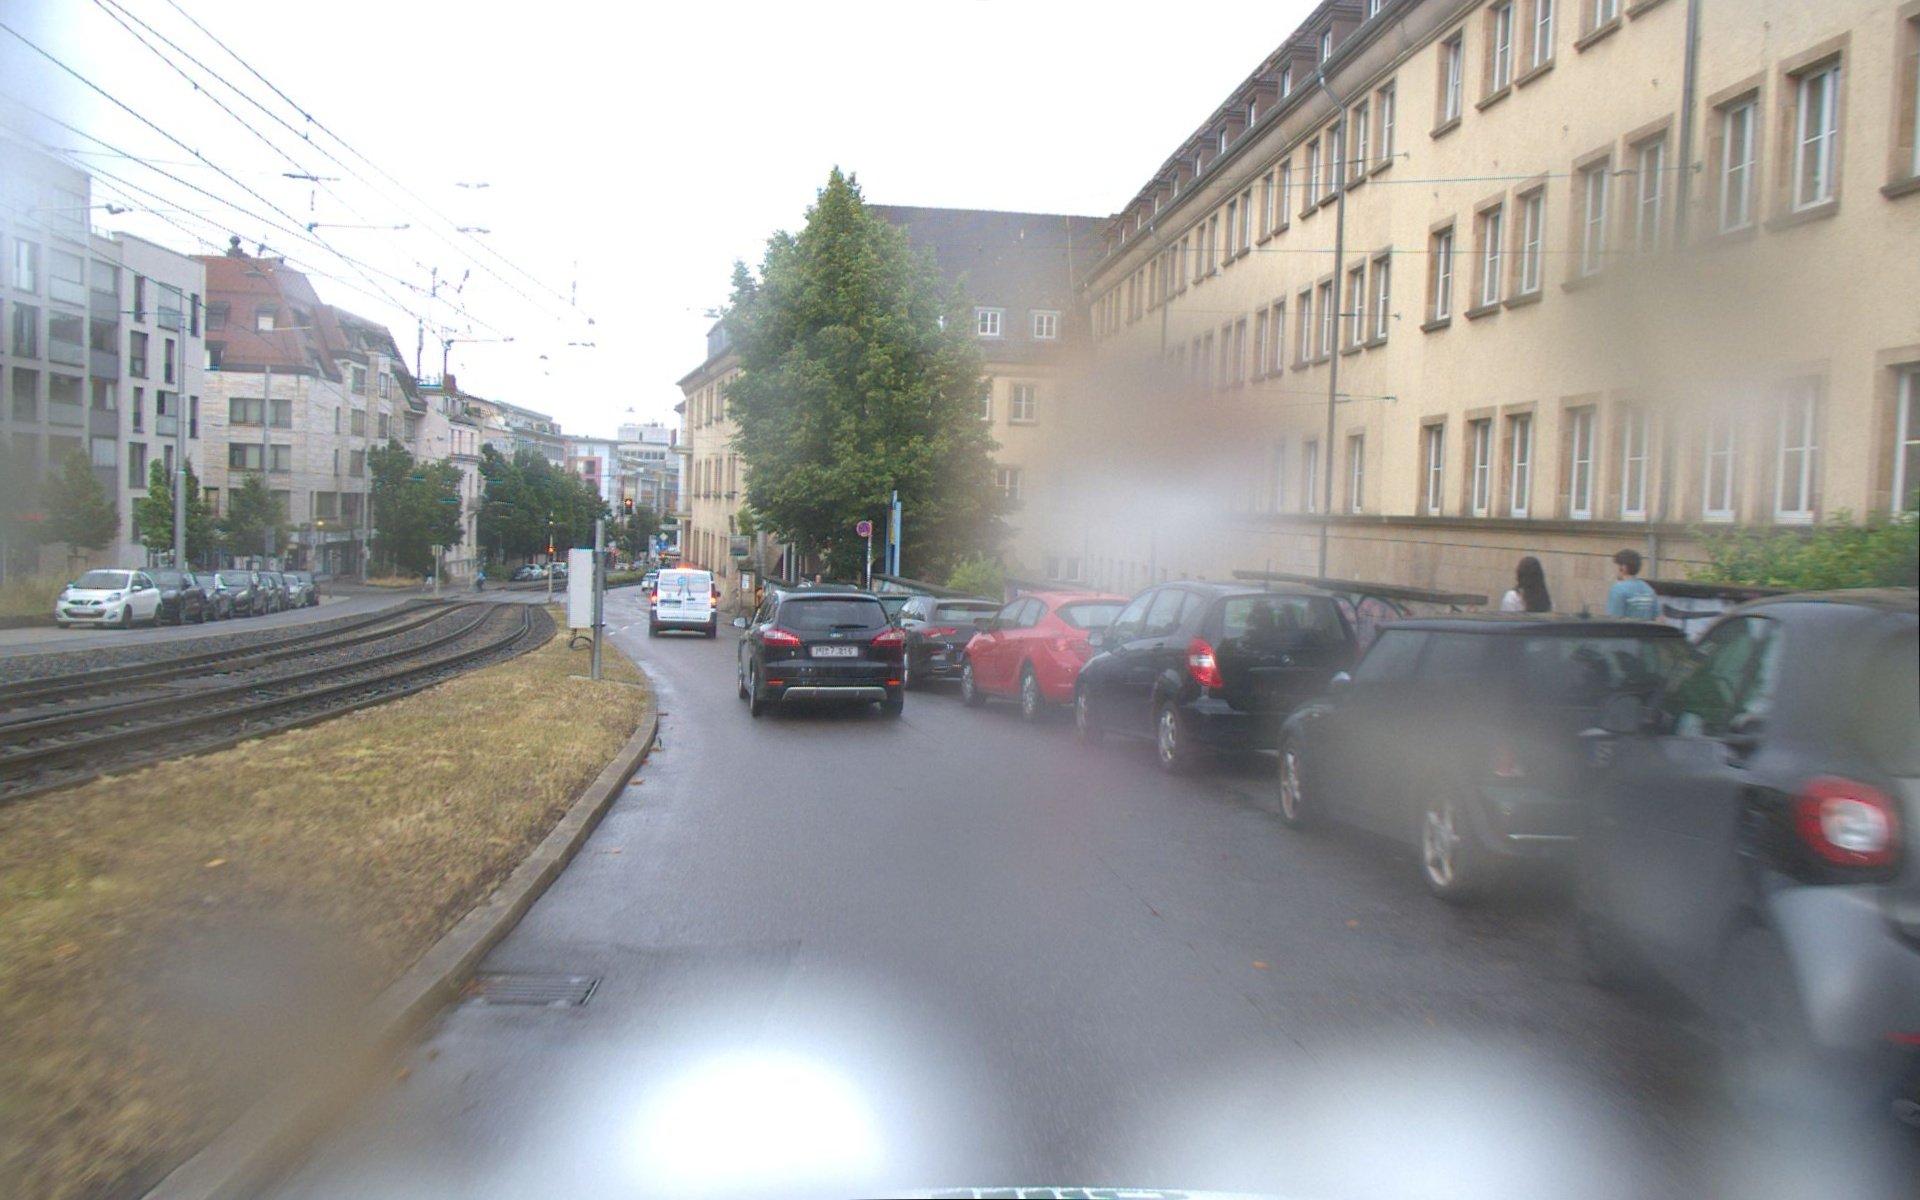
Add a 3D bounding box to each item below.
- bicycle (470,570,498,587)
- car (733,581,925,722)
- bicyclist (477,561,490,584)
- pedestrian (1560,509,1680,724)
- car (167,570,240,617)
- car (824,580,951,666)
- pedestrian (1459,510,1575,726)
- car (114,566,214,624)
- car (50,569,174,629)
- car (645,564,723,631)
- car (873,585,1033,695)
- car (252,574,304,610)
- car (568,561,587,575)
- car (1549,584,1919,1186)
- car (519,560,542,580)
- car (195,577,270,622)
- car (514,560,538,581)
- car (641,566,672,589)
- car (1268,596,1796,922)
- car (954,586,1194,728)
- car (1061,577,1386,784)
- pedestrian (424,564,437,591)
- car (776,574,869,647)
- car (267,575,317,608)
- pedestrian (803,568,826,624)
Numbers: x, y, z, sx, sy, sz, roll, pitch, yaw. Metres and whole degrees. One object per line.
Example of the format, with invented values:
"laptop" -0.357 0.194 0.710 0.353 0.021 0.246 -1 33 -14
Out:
"bicycle" -32.555 -1.490 113.058 1.787 1.082 0.450 2 0 -42
"car" -1.714 0.548 20.376 1.886 1.505 3.989 0 1 -11
"bicyclist" -32.576 -1.878 113.021 0.696 1.601 0.455 2 0 -42
"pedestrian" 5.621 0.134 14.122 0.703 1.785 0.738 0 1 -3
"car" -24.464 -0.219 53.561 1.523 1.460 3.438 0 1 -14
"car" -1.450 0.385 31.510 1.637 1.502 4.094 0 1 -14
"pedestrian" 4.715 0.141 14.042 0.703 1.785 0.738 0 1 -3
"car" -23.209 -0.166 48.369 1.735 1.588 4.390 0 1 -14
"car" -22.504 -0.043 44.033 1.732 1.505 3.728 1 1 -7
"car" -7.908 -0.108 47.152 2.099 1.775 4.207 0 1 -11
"car" -0.204 0.534 25.489 1.636 1.502 4.445 0 1 -12
"car" -29.737 -0.357 72.229 1.745 1.530 4.063 0 1 -18
"car" -47.250 -3.995 204.425 1.957 1.691 3.991 1 1 -10
"car" 3.085 0.705 5.448 1.564 1.491 2.723 0 1 6
"car" -45.081 -3.181 173.536 1.957 2.049 3.991 1 1 -10
"car" -25.668 -0.037 58.465 1.690 1.539 4.303 0 1 -14
"car" -43.924 -2.982 167.355 1.957 2.049 3.991 1 1 -10
"car" -24.491 -1.845 133.670 1.954 1.803 3.997 1 1 -4
"car" 2.995 0.723 9.468 1.506 1.441 3.640 0 1 -5
"car" 1.265 0.625 20.174 1.638 1.502 4.049 2 0 -16
"car" 2.215 0.597 14.922 1.636 1.600 3.844 0 1 -12
"pedestrian" -38.422 -1.652 120.050 0.891 1.965 0.821 1 1 -19
"car" -3.170 0.198 37.503 1.636 1.551 4.097 0 1 -12
"car" -31.850 -0.428 78.937 1.882 1.530 4.215 0 1 -18
"pedestrian" -4.629 -0.123 52.455 0.621 1.751 0.708 1 0 -14
